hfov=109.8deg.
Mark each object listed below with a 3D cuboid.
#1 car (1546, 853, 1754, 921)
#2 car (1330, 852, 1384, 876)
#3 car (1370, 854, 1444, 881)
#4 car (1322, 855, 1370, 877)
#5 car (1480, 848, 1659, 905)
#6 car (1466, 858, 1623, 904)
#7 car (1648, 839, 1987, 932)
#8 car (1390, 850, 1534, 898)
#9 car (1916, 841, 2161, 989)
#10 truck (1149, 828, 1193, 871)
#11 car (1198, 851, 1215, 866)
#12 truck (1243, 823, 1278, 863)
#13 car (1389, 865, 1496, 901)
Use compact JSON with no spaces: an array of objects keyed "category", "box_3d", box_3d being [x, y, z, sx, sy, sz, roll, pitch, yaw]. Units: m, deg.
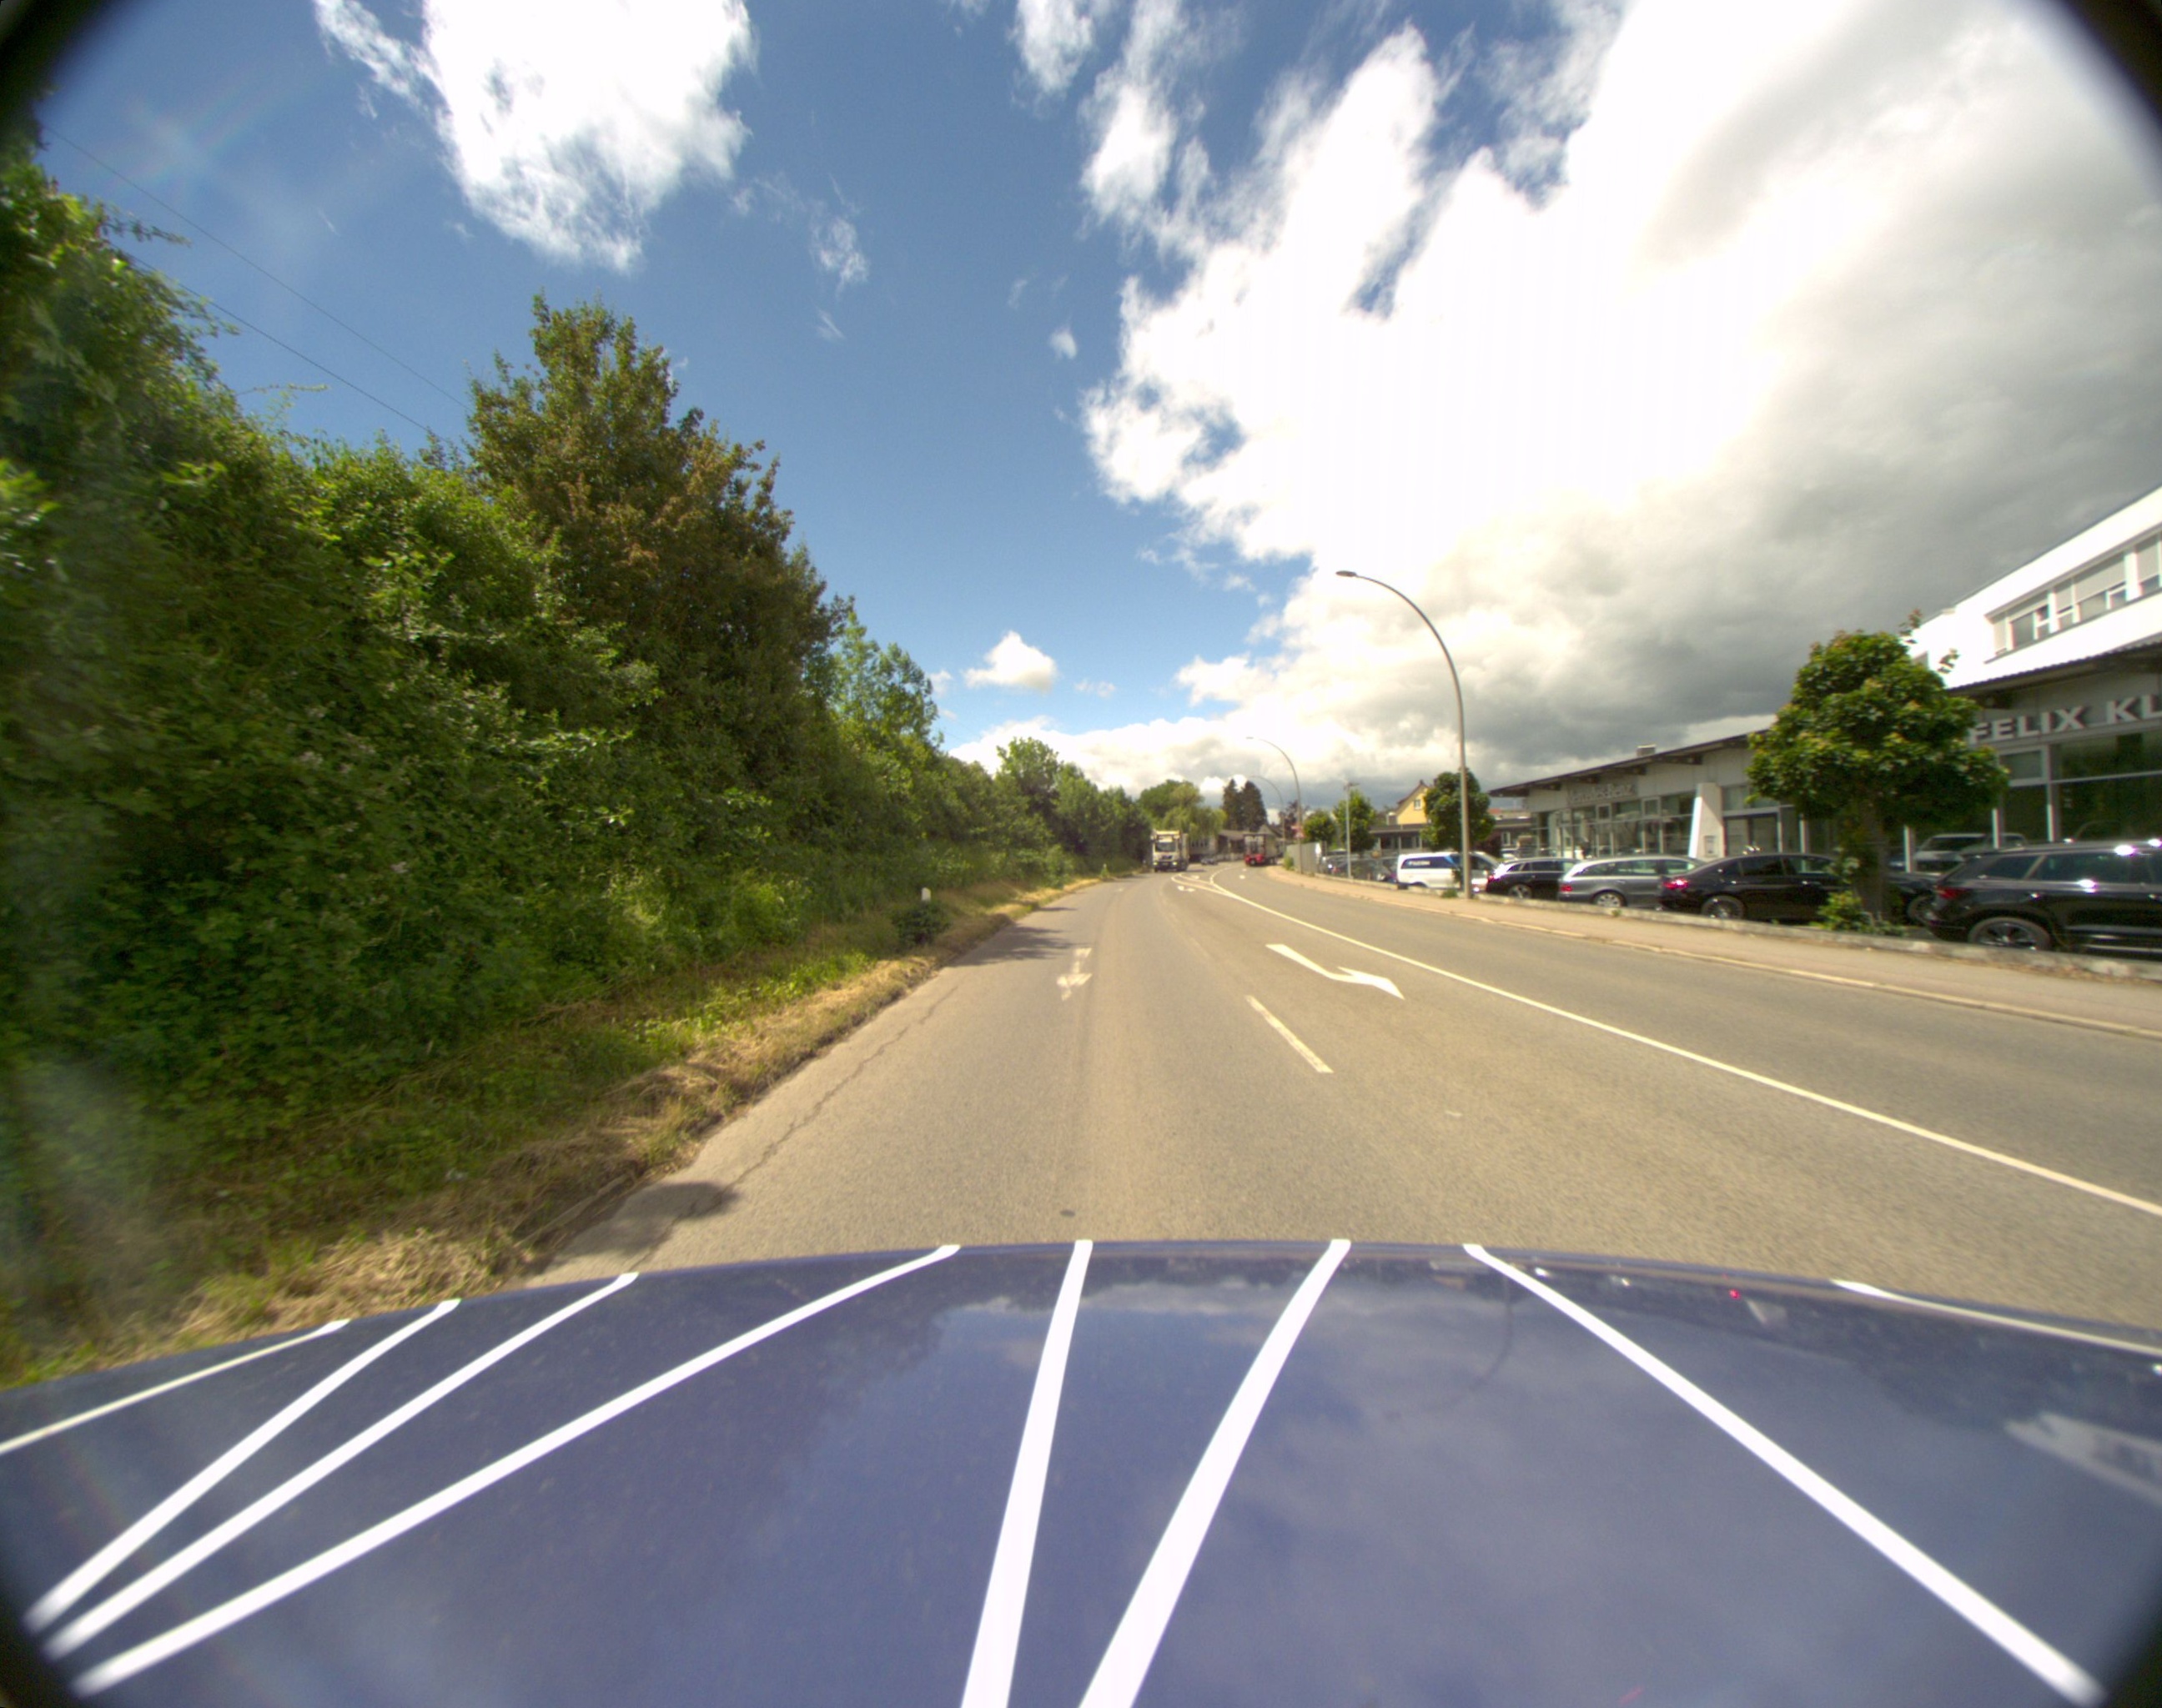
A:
[{"category":"car","box_3d":[13.954,0.774,18.741,3.944,1.485,1.808,-1,0,41]},{"category":"car","box_3d":[18.932,0.706,52.262,3.262,1.565,1.583,-1,0,11]},{"category":"car","box_3d":[19.322,0.813,45.103,3.660,1.454,1.659,-3,-1,8]},{"category":"car","box_3d":[20.263,0.915,58.184,3.262,1.565,1.583,-1,0,11]},{"category":"car","box_3d":[15.137,0.738,23.732,4.497,1.615,1.808,-3,-2,35]},{"category":"car","box_3d":[16.058,0.945,26.438,4.454,1.321,1.897,-4,-2,35]},{"category":"car","box_3d":[14.380,0.641,15.339,4.624,1.615,2.067,-3,-1,36]},{"category":"car","box_3d":[15.461,0.793,30.985,4.945,1.827,1.897,-1,0,38]},{"category":"car","box_3d":[13.495,0.689,9.071,1.806,1.615,4.344,-5,0,-26]},{"category":"truck","box_3d":[8.808,-0.427,73.072,2.901,3.746,9.644,-2,0,14]},{"category":"car","box_3d":[17.436,0.652,105.390,1.952,2.002,4.004,-2,0,14]},{"category":"truck","box_3d":[22.128,-1.303,93.240,2.976,4.634,8.190,-1,0,21]},{"category":"car","box_3d":[15.932,1.290,33.561,3.944,1.417,1.808,-3,-1,36]}]
